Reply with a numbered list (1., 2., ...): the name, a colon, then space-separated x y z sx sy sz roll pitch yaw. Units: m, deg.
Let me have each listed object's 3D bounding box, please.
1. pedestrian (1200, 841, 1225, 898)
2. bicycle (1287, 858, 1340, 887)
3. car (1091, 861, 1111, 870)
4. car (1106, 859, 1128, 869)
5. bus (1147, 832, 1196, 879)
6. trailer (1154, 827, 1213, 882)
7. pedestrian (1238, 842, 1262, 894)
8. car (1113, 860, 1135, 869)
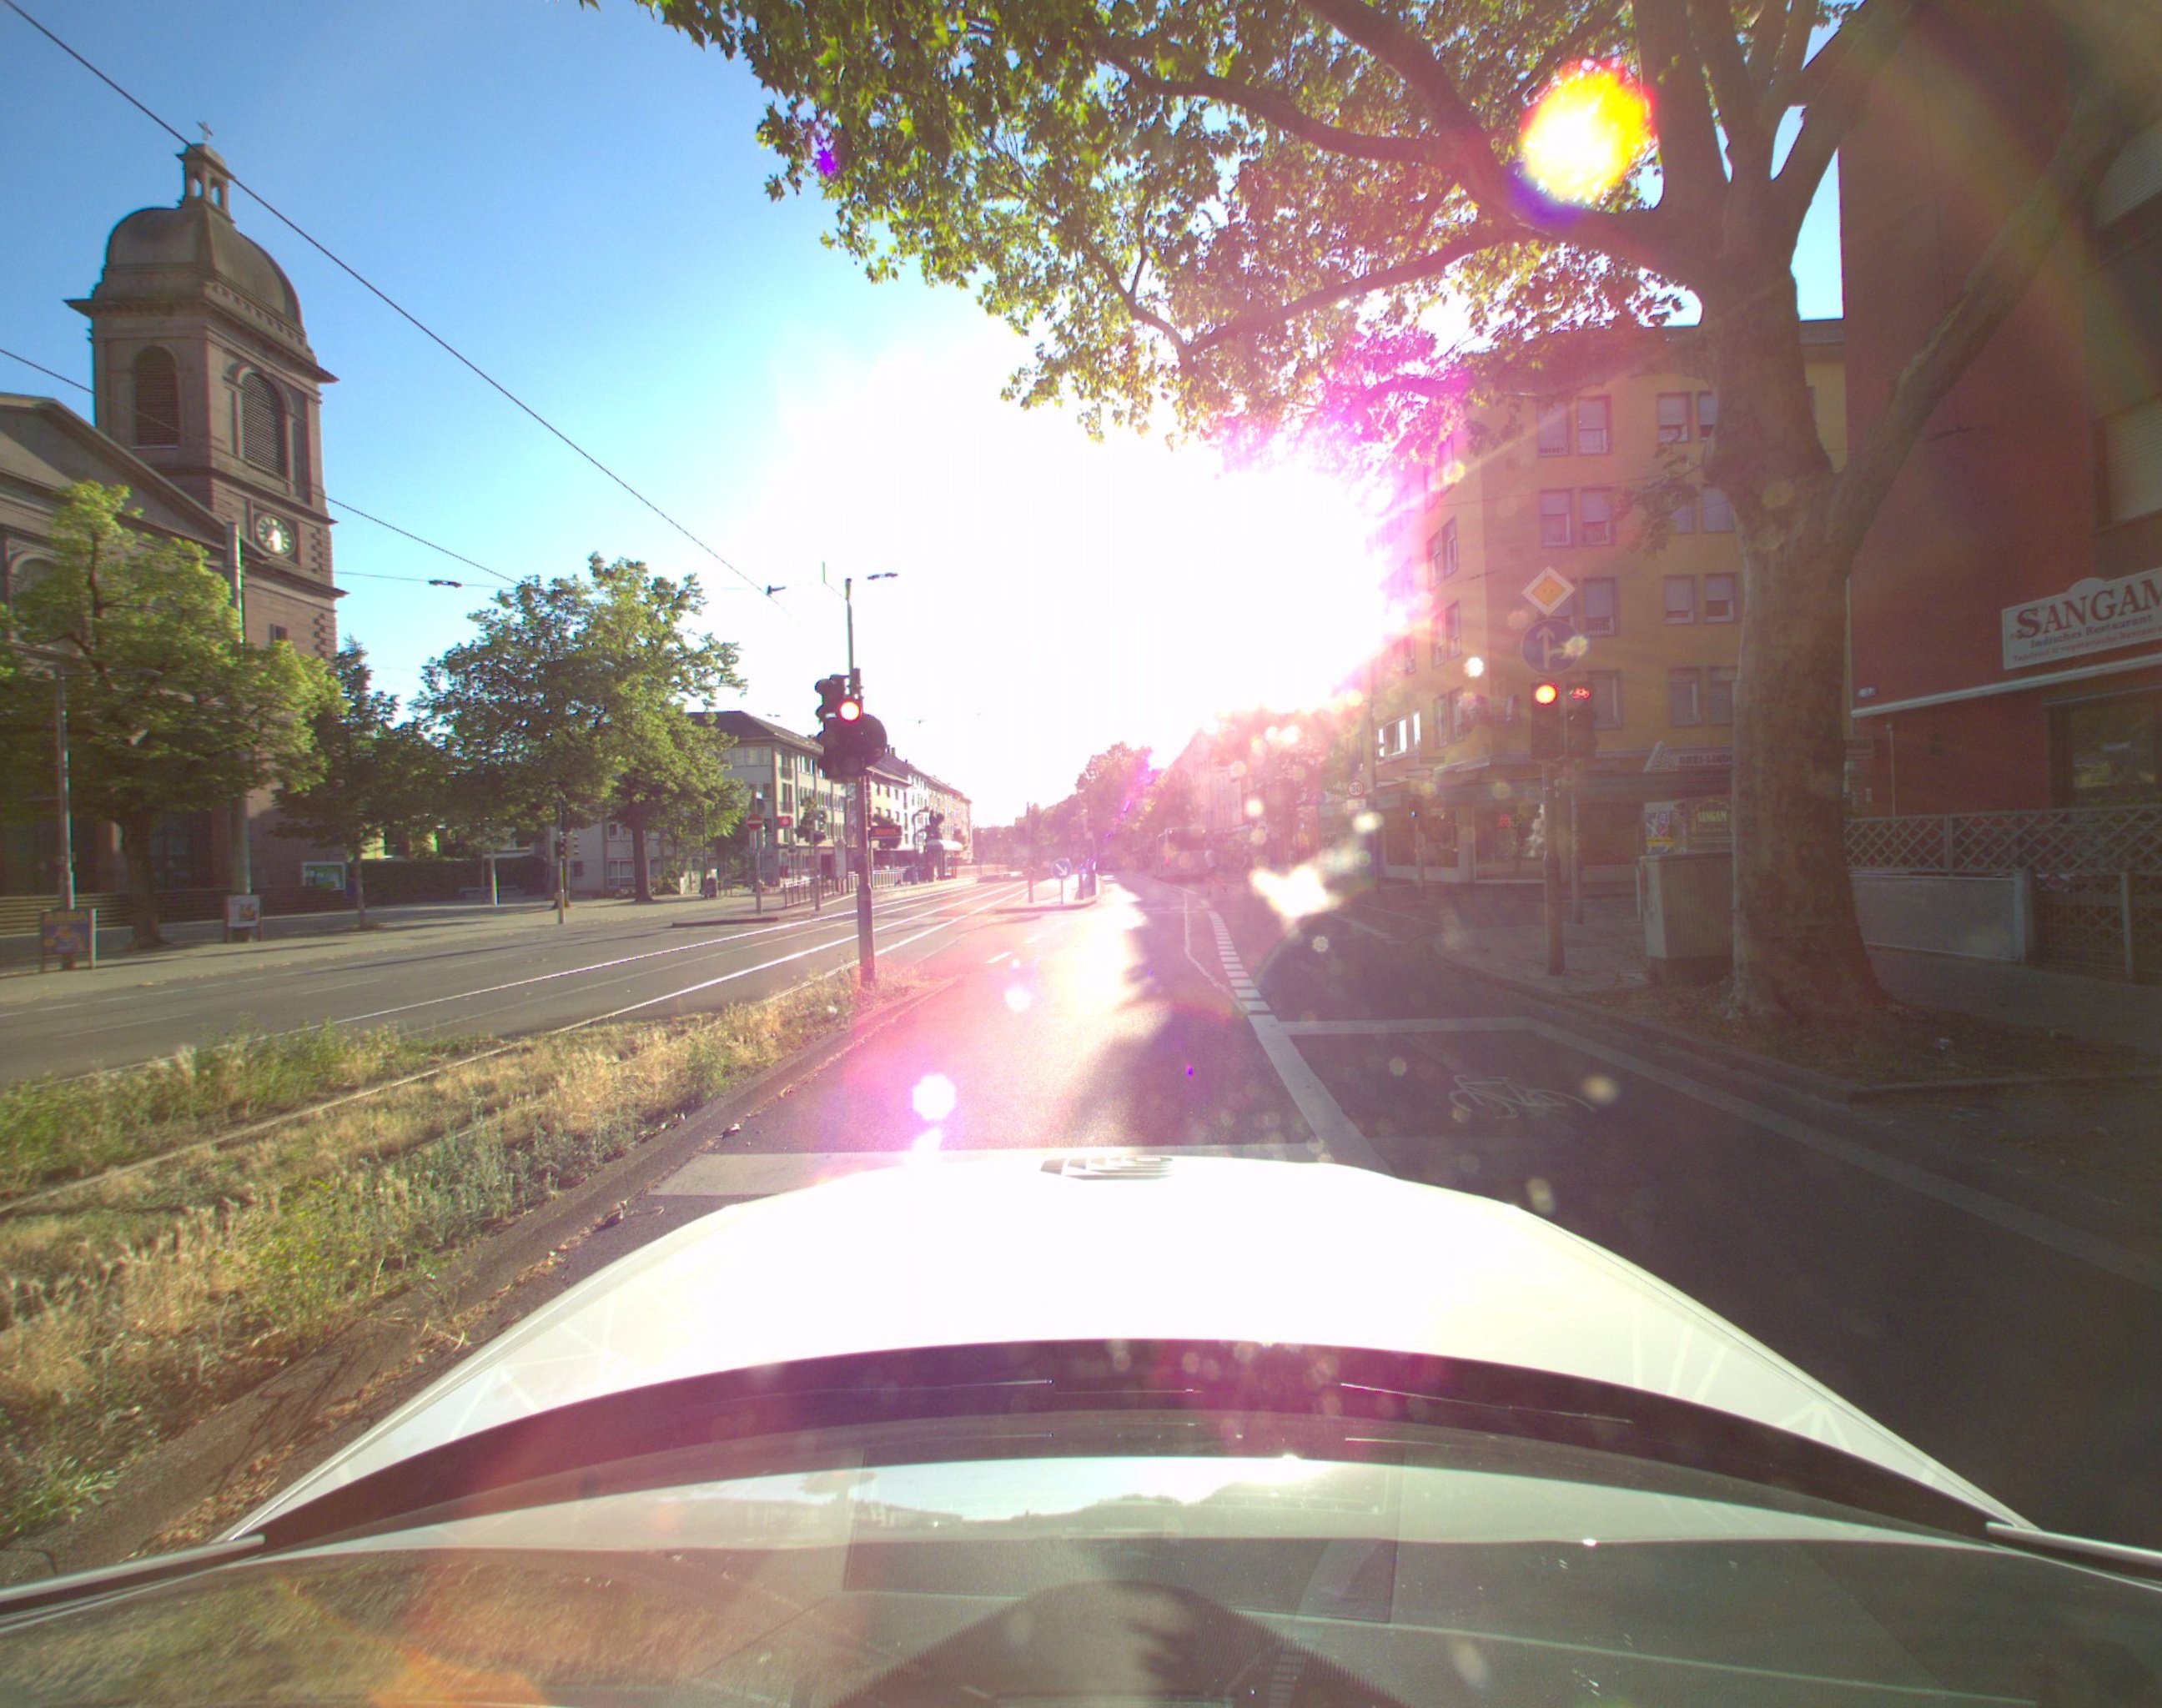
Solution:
1. pedestrian: 4.204 0.480 26.067 0.677 1.770 0.687 -2 0 2
2. bicycle: 8.903 0.704 31.247 1.766 1.021 0.694 -4 -1 1
3. car: 4.091 2.305 166.530 3.911 1.596 1.676 -2 0 -27
4. car: 7.207 1.990 161.271 3.911 1.699 1.817 -2 0 -27
5. bus: 6.403 0.119 58.960 2.801 3.101 9.097 0 0 2
6. trailer: 6.111 0.057 50.019 2.801 3.110 8.797 0 0 2
7. pedestrian: 5.868 0.491 28.282 0.677 1.770 0.687 -2 0 2
8. car: 8.344 2.033 158.474 3.911 1.699 1.817 -2 0 -27
